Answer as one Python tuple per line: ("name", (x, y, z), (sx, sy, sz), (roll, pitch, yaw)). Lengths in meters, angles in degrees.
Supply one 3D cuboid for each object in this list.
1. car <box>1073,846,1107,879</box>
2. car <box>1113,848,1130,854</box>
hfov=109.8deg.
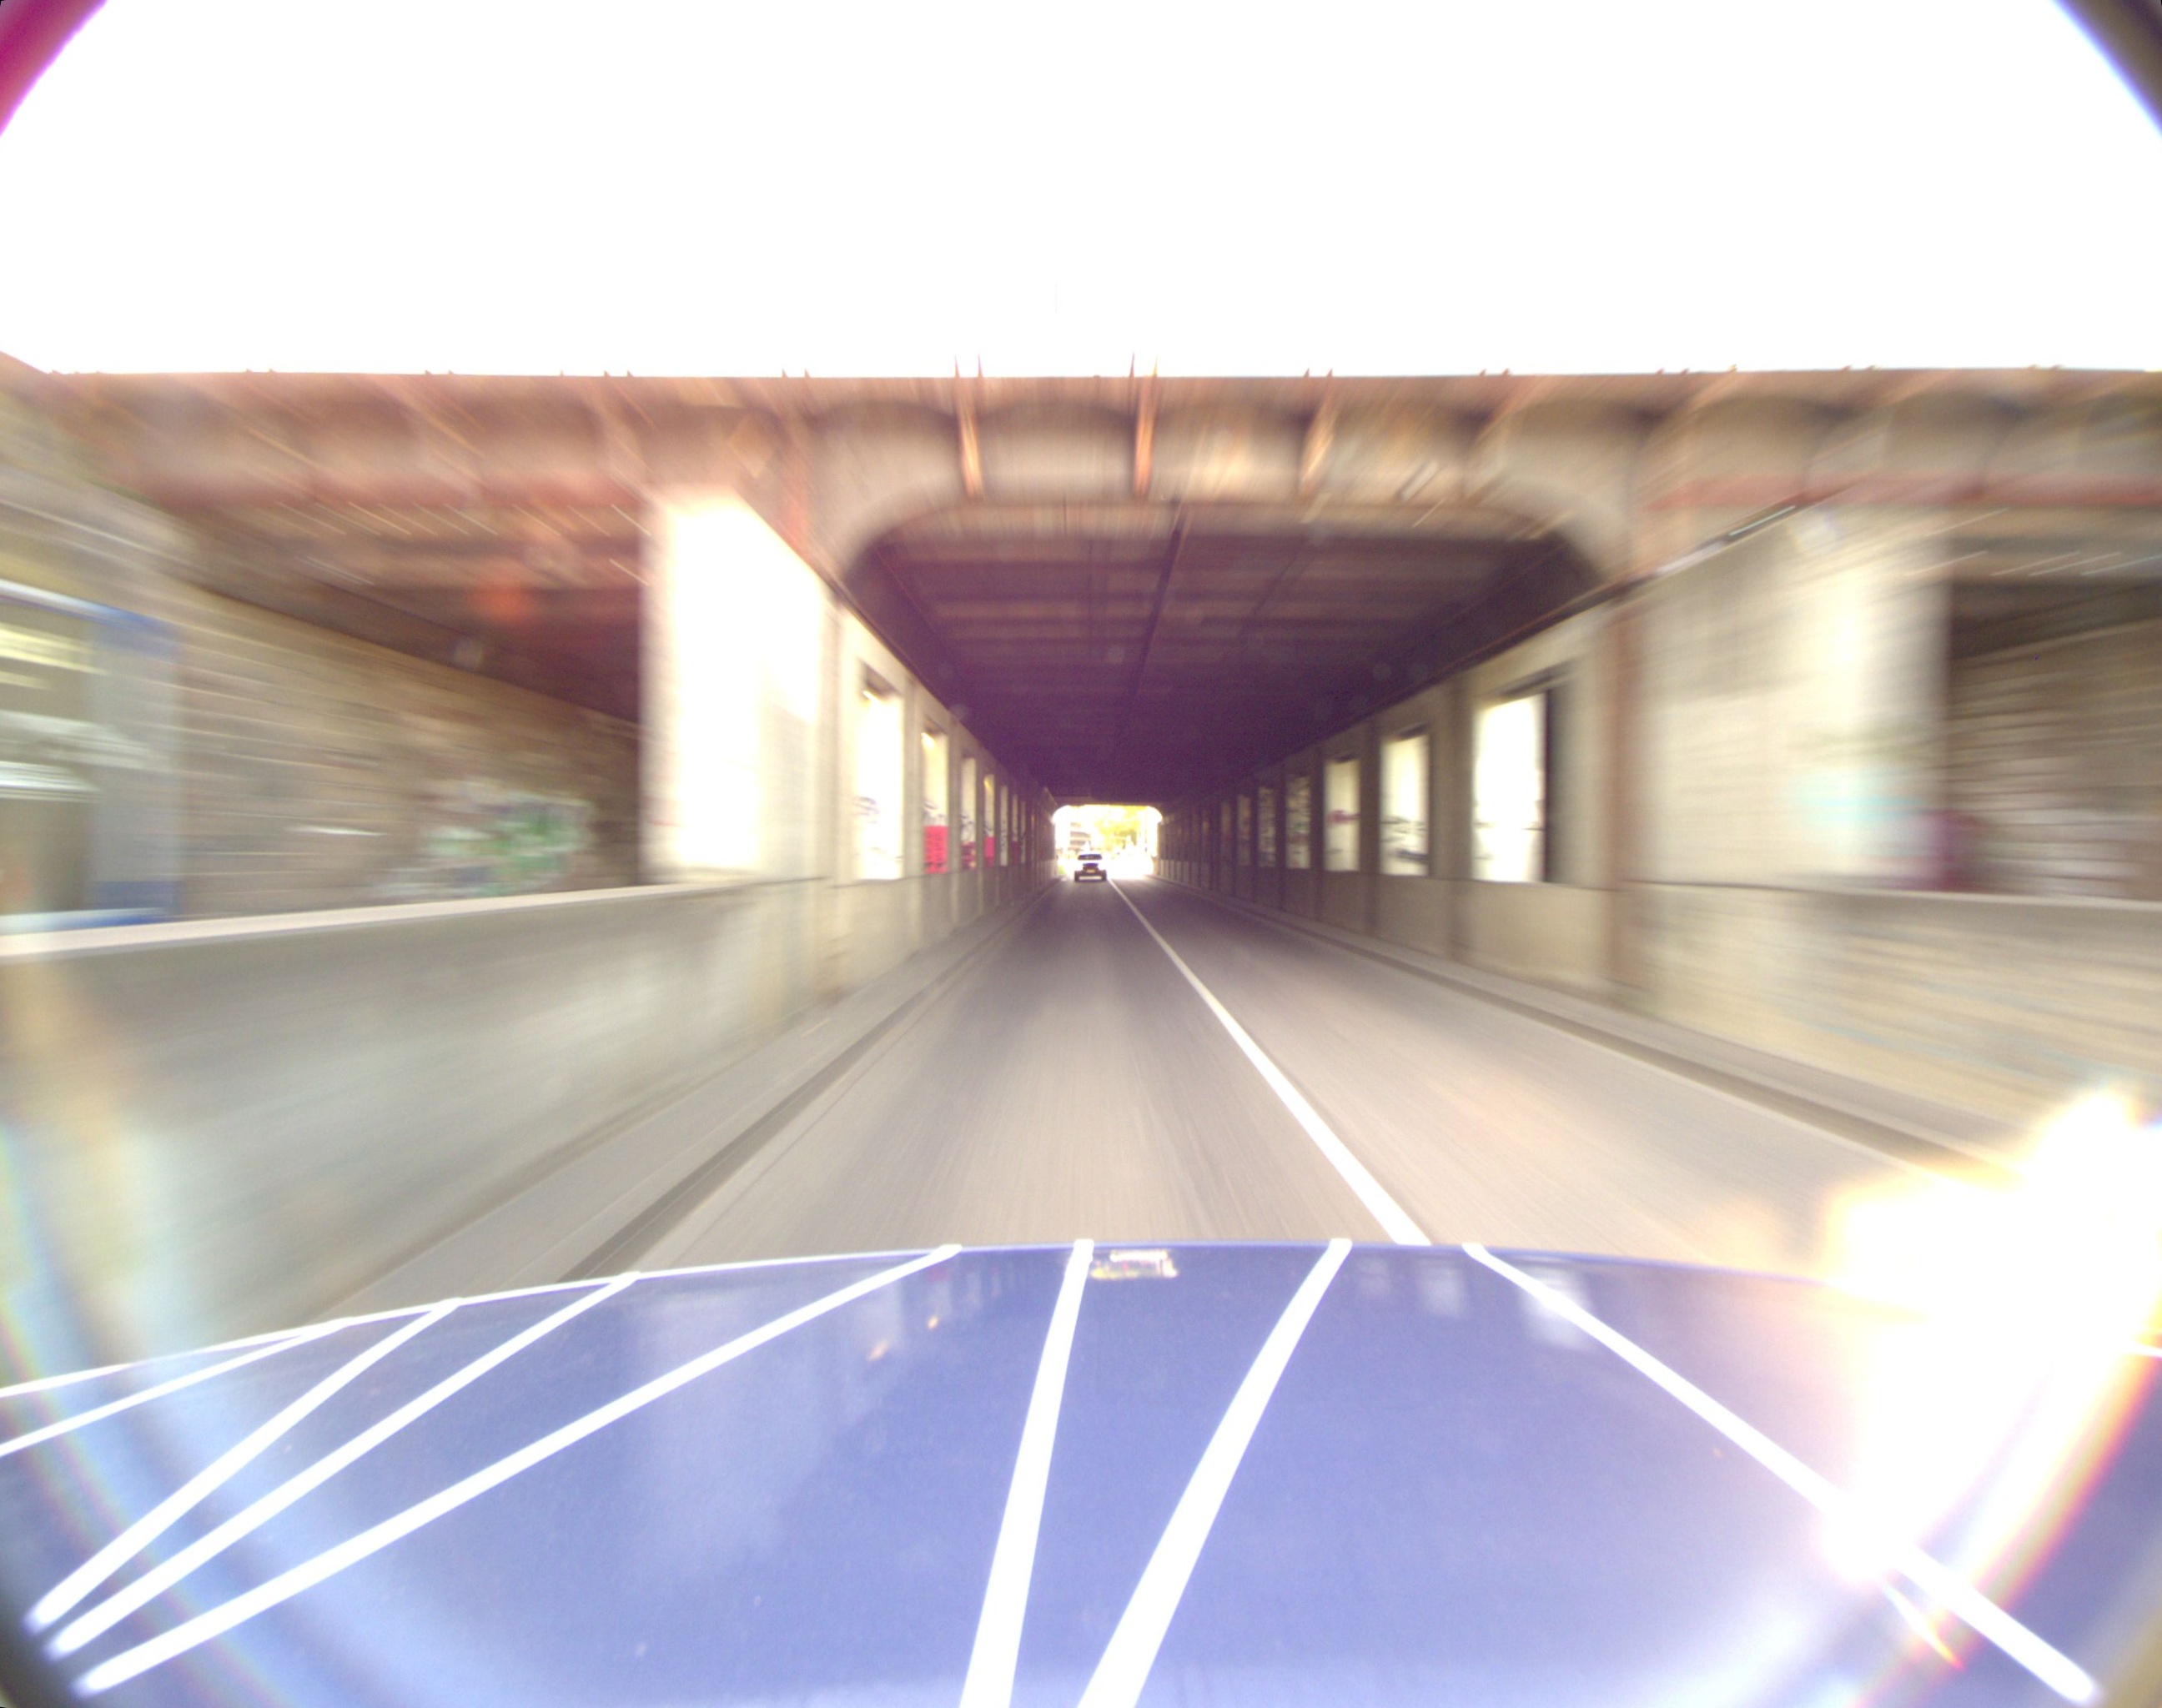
("car", (0.568, 0.484, 46.657), (1.941, 1.922, 4.523), (0, 1, 1))
("car", (11.105, -0.834, 207.560), (4.140, 1.631, 1.777), (-1, 2, 22))
